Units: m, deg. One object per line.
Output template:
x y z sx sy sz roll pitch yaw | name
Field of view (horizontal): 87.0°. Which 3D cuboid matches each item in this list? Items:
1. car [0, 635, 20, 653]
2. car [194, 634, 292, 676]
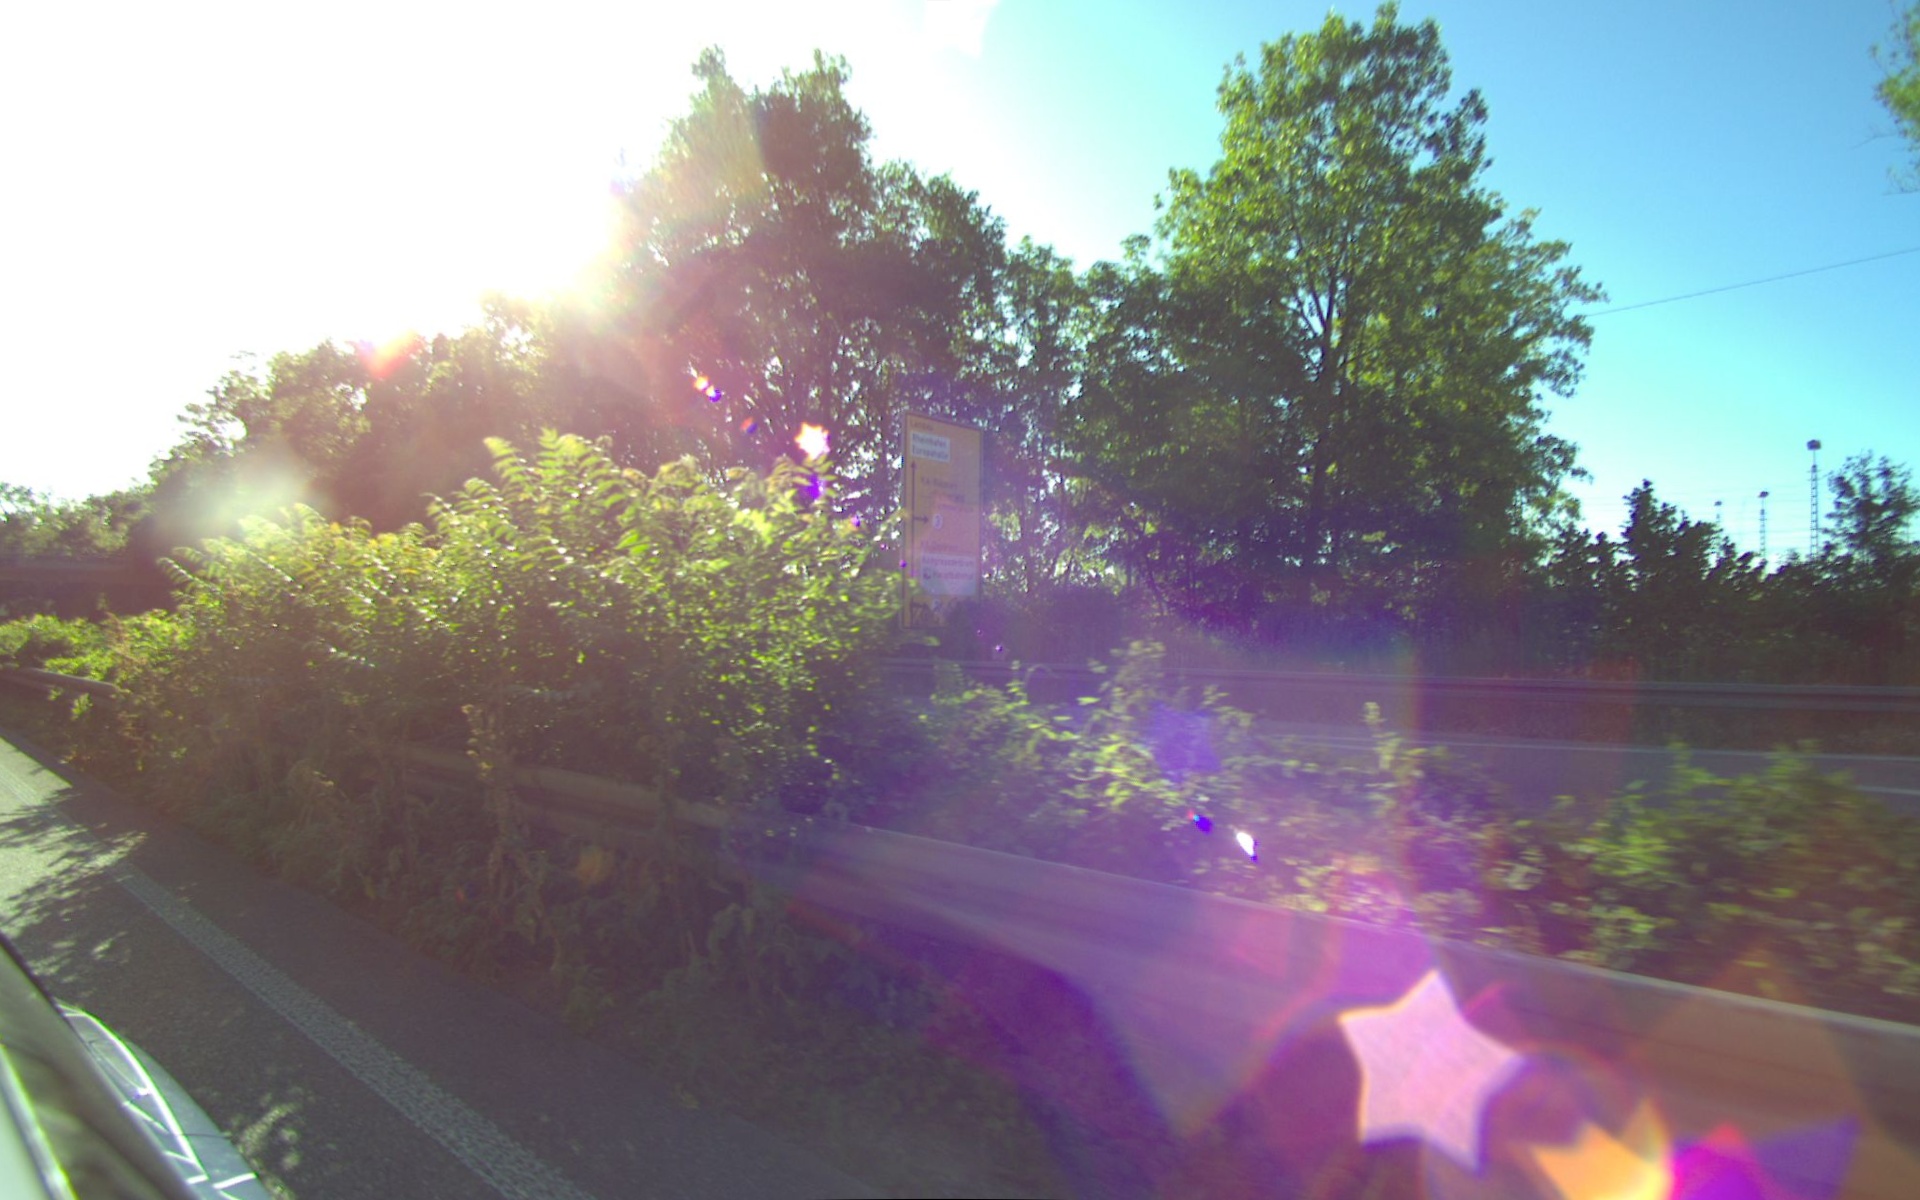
-78.718 3.590 82.979 4.322 1.461 1.941 -2 -1 40 | car
-27.850 2.089 39.258 4.501 1.461 1.941 -2 -1 39 | car
